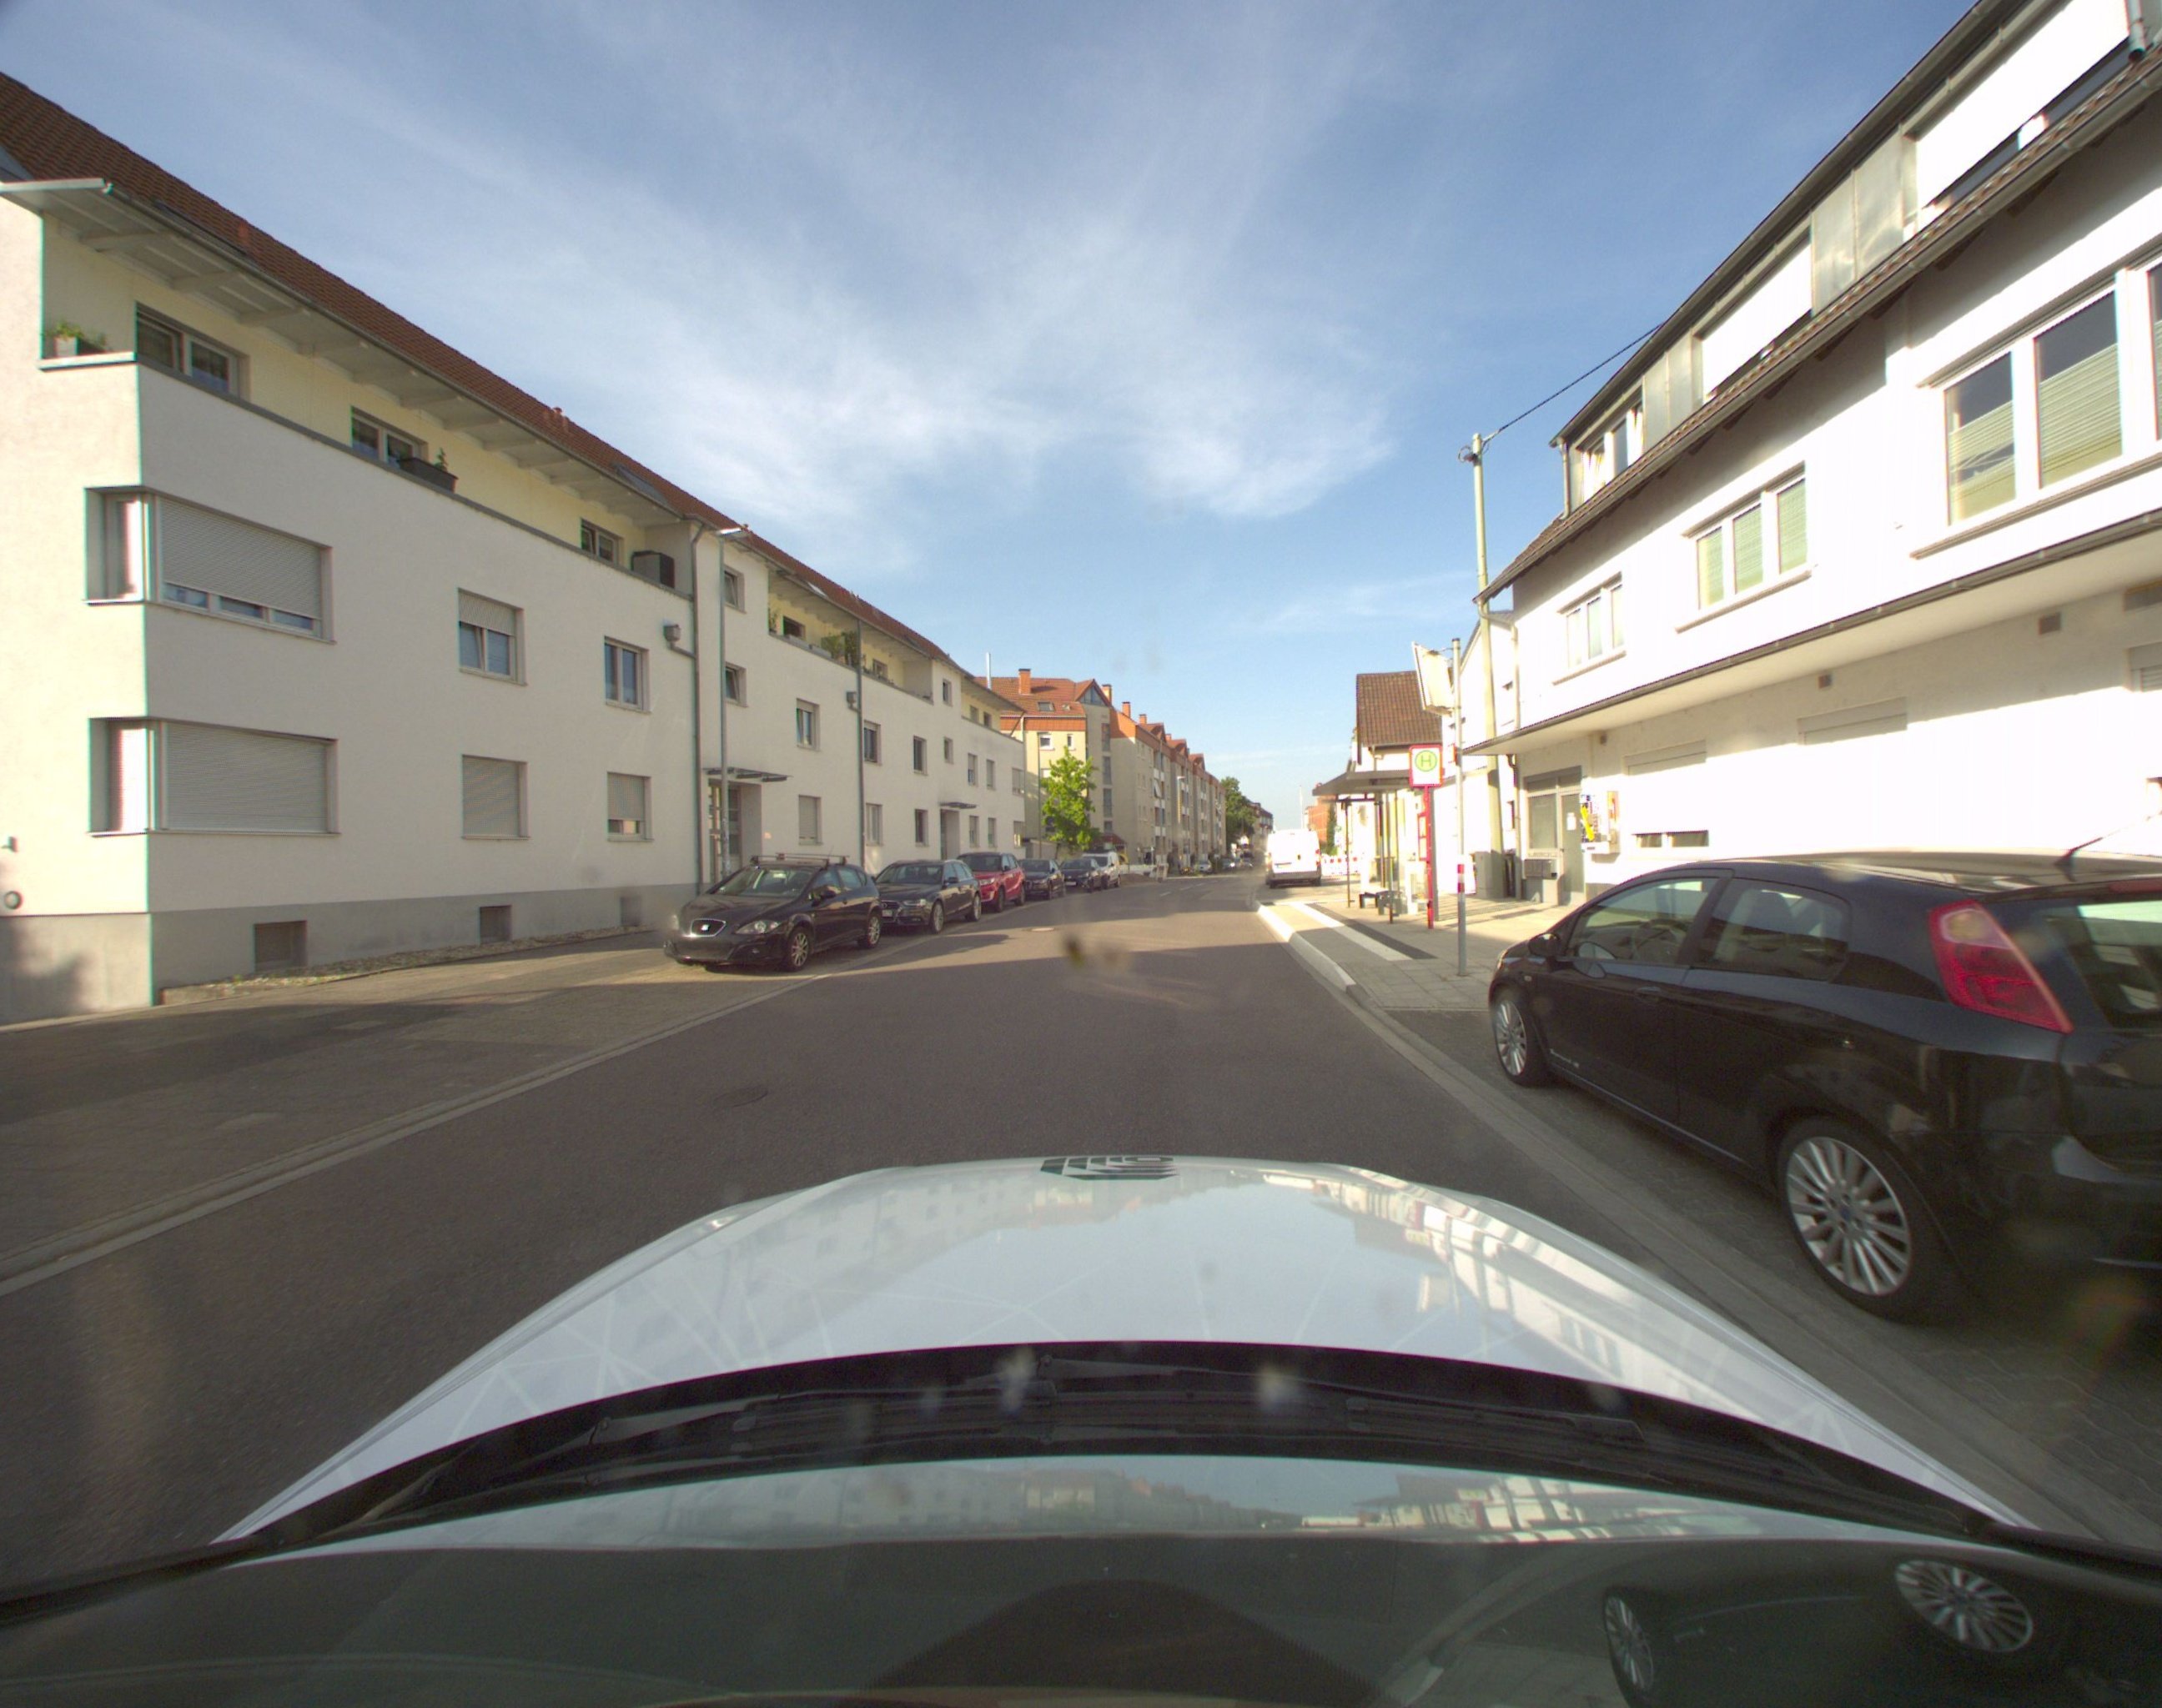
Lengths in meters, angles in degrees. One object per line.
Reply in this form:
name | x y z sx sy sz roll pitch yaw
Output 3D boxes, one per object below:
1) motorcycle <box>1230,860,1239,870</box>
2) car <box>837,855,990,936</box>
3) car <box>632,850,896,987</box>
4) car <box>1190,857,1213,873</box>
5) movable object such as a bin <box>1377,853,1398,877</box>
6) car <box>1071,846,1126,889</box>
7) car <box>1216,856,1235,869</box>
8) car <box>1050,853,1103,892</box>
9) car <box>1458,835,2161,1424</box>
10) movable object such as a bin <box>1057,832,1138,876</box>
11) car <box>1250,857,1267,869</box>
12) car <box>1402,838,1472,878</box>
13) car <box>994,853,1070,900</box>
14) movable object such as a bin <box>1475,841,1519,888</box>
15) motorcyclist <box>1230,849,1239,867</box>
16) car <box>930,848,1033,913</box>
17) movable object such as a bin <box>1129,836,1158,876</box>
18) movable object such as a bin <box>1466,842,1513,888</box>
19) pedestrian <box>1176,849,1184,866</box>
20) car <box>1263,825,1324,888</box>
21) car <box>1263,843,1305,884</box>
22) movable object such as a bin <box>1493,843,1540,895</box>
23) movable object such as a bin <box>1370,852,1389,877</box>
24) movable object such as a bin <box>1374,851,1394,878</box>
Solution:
motorcycle | 14.481 1.038 76.831 0.763 0.985 2.207 0 0 14
car | -3.400 0.776 17.490 1.717 1.478 4.514 0 0 9
car | -4.431 0.775 12.181 1.765 1.622 4.188 2 1 9
car | 11.112 1.005 74.794 1.628 1.395 3.686 -3 -1 15
movable object such as a bin | 12.783 0.458 33.988 0.722 0.959 0.555 -1 -1 14
car | 0.919 0.594 39.547 1.715 1.960 4.455 -1 0 13
car | 16.413 0.941 92.247 1.673 1.405 4.101 -1 0 16
car | -0.130 0.740 34.321 1.483 1.465 3.525 2 1 12
car | 3.355 0.649 3.875 1.600 1.421 3.926 -1 0 5
movable object such as a bin | 1.136 -0.014 56.328 5.477 2.900 2.112 -1 0 1
car | 21.948 1.095 100.571 1.816 1.420 4.226 -2 -1 15
car | 14.624 0.138 33.322 1.640 1.407 4.005 -3 -1 38
car | -1.616 0.738 28.413 1.717 1.478 4.274 -1 0 9
movable object such as a bin | 9.980 0.253 19.556 0.807 1.093 0.444 -3 -1 9
motorcyclist | 14.489 0.404 76.909 0.763 1.652 0.846 -1 0 12
car | -2.694 0.684 23.024 1.717 1.622 4.274 -2 0 9
movable object such as a bin | 5.048 0.106 65.739 1.635 3.138 3.916 0 1 15
movable object such as a bin | 10.105 0.266 20.168 0.807 1.093 0.770 -3 -1 9
pedestrian | 10.463 0.357 86.246 0.713 1.818 0.748 -1 0 16
car | 8.882 0.084 34.186 2.159 2.327 5.016 -3 0 14
car | 9.699 0.417 39.009 1.765 1.741 4.500 -3 0 14
movable object such as a bin | 9.485 0.317 17.751 0.692 1.093 0.560 -3 -1 7
movable object such as a bin | 13.341 0.478 36.397 0.722 1.093 0.628 -1 -1 14
movable object such as a bin | 13.070 0.457 35.159 0.722 1.132 0.555 -1 -1 14
